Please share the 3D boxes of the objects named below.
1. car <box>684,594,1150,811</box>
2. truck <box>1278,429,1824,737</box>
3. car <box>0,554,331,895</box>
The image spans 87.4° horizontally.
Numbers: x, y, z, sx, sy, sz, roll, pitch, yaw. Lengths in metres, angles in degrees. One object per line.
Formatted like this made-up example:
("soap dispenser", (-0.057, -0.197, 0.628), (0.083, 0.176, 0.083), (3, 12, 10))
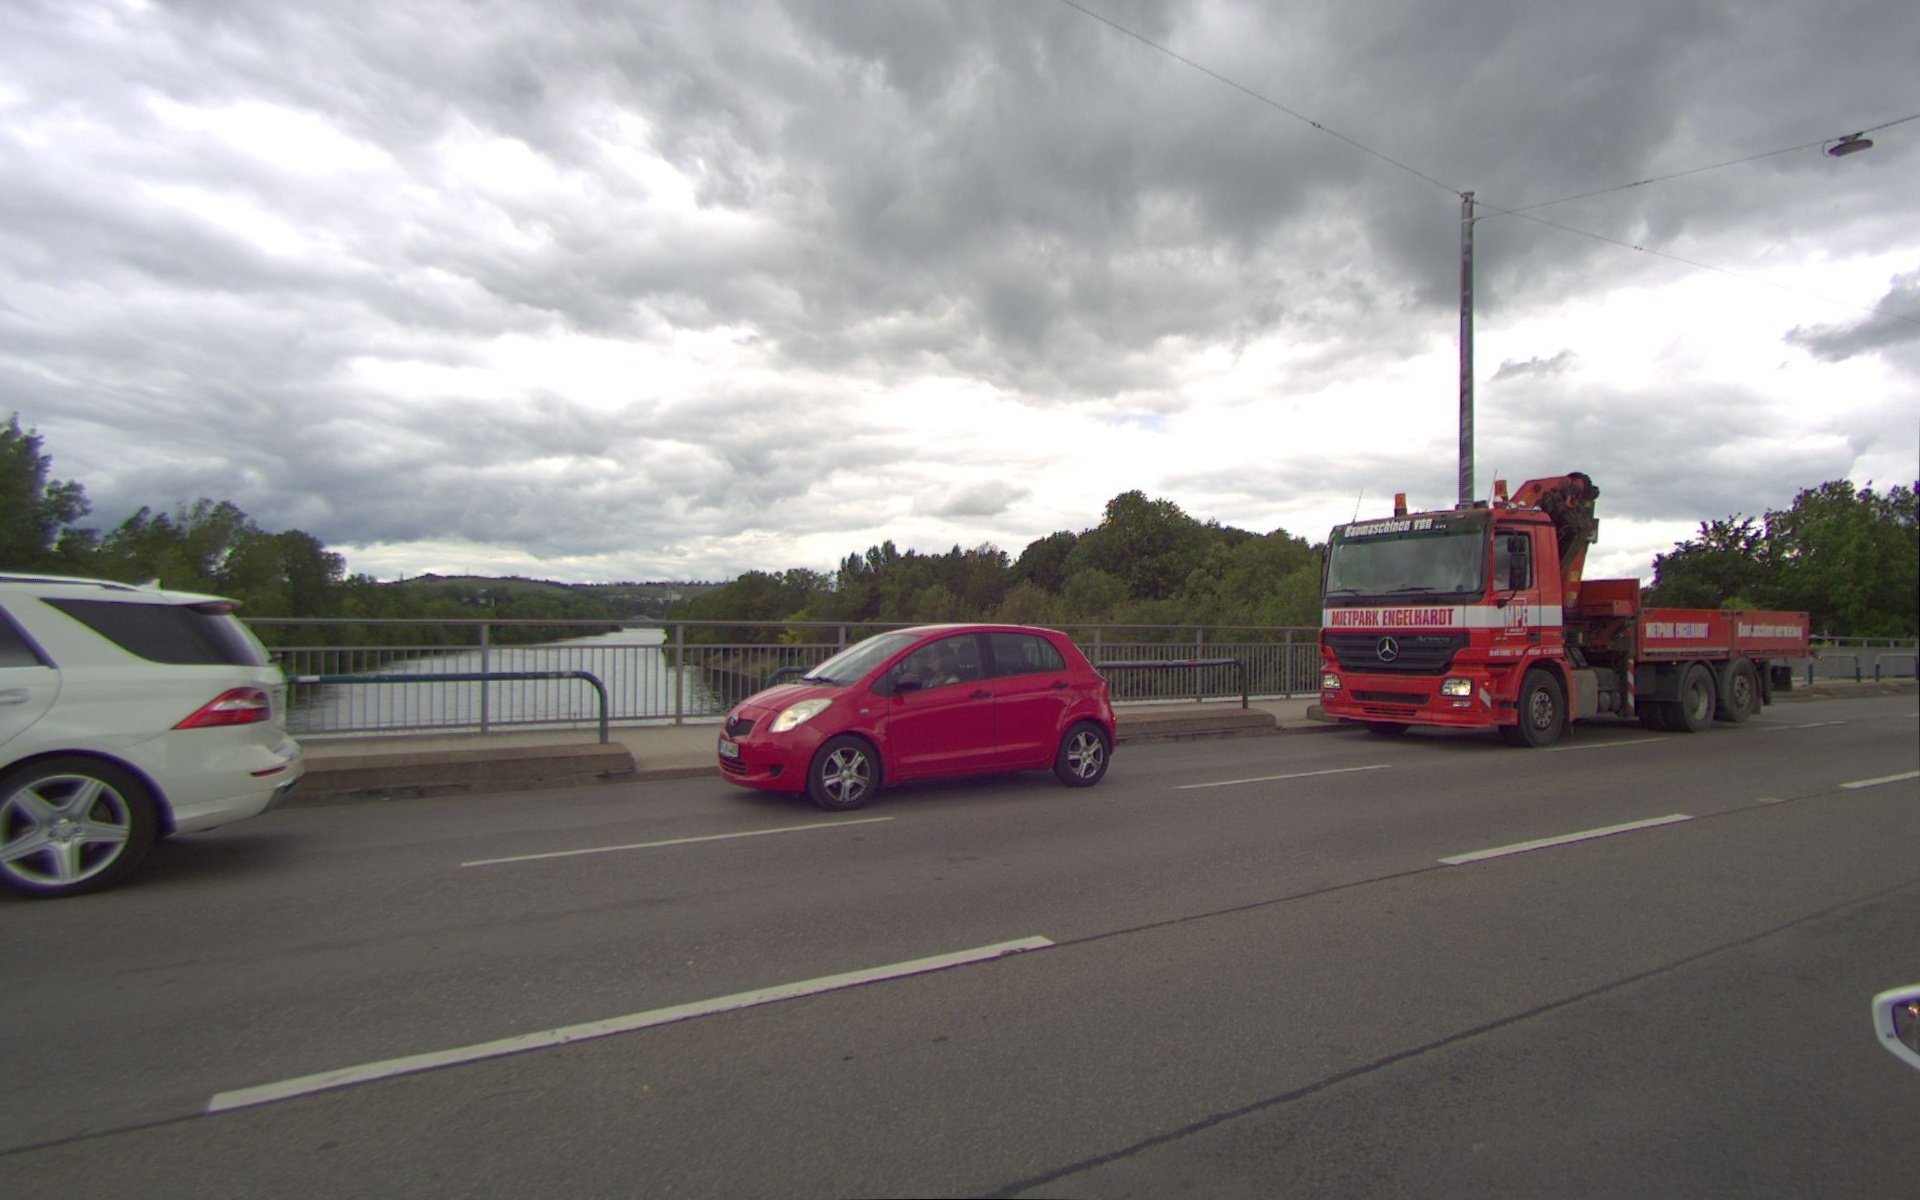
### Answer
("car", (-0.348, 0.827, 9.378), (3.969, 1.624, 1.871), (1, -2, -31))
("truck", (9.519, -0.082, 15.624), (9.867, 3.612, 2.991), (1, -2, -31))
("car", (-6.337, 0.660, 5.561), (4.747, 1.784, 1.870), (1, -2, -31))
